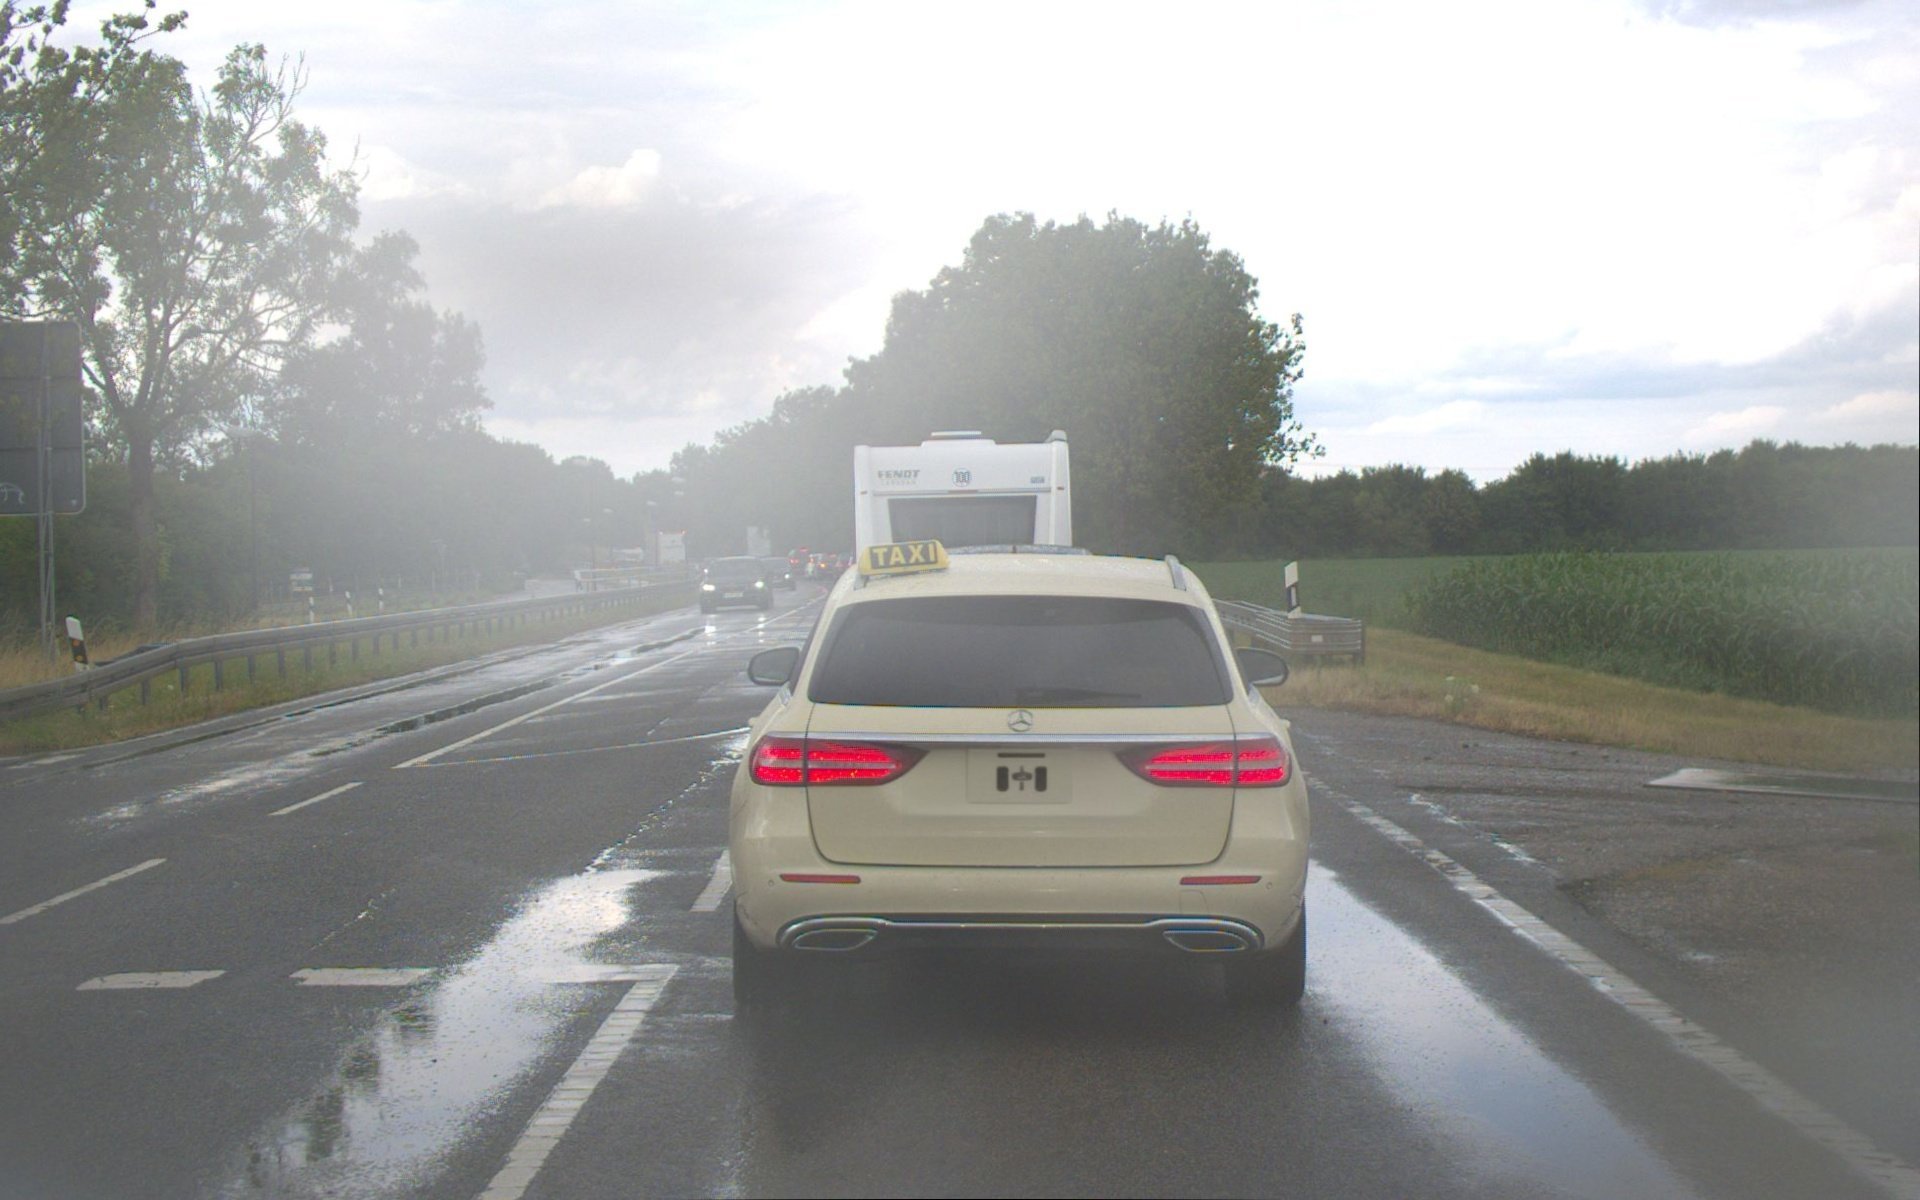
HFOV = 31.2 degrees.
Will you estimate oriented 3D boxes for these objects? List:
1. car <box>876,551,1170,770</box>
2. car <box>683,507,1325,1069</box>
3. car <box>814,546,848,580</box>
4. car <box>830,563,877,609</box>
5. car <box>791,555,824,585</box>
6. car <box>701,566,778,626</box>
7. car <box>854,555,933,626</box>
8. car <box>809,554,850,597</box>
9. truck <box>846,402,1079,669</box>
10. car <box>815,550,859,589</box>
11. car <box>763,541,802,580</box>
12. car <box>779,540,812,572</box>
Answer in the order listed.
[{"bbox_3d":[0.411,0.393,25.775,1.993,1.457,4.000,2,1,-1],"label":"car"},{"bbox_3d":[0.106,0.514,11.914,1.842,1.612,4.000,0,1,-1],"label":"car"},{"bbox_3d":[-7.163,-2.059,191.420,1.740,1.853,3.785,-1,1,-1],"label":"car"},{"bbox_3d":[-4.321,-0.587,139.774,1.791,1.771,3.721,-1,1,-1],"label":"car"},{"bbox_3d":[-8.921,-1.757,200.680,1.748,1.656,3.673,-1,1,-5],"label":"car"},{"bbox_3d":[-6.014,-0.116,94.141,1.828,1.568,4.000,1,1,0],"label":"car"},{"bbox_3d":[-1.815,-0.279,94.539,1.915,1.834,3.795,-1,1,2],"label":"car"},{"bbox_3d":[-6.321,-1.191,167.036,1.852,2.007,3.811,-1,1,-1],"label":"car"},{"bbox_3d":[-0.009,-0.738,39.308,2.363,2.719,7.315,-1,1,-1],"label":"truck"},{"bbox_3d":[-5.646,-1.428,158.489,1.879,1.755,3.834,-1,1,-1],"label":"car"},{"bbox_3d":[-7.673,-1.712,148.851,1.580,1.634,3.442,-1,1,-1],"label":"car"},{"bbox_3d":[-10.012,-2.656,208.973,1.895,1.888,3.844,-1,1,-3],"label":"car"}]
